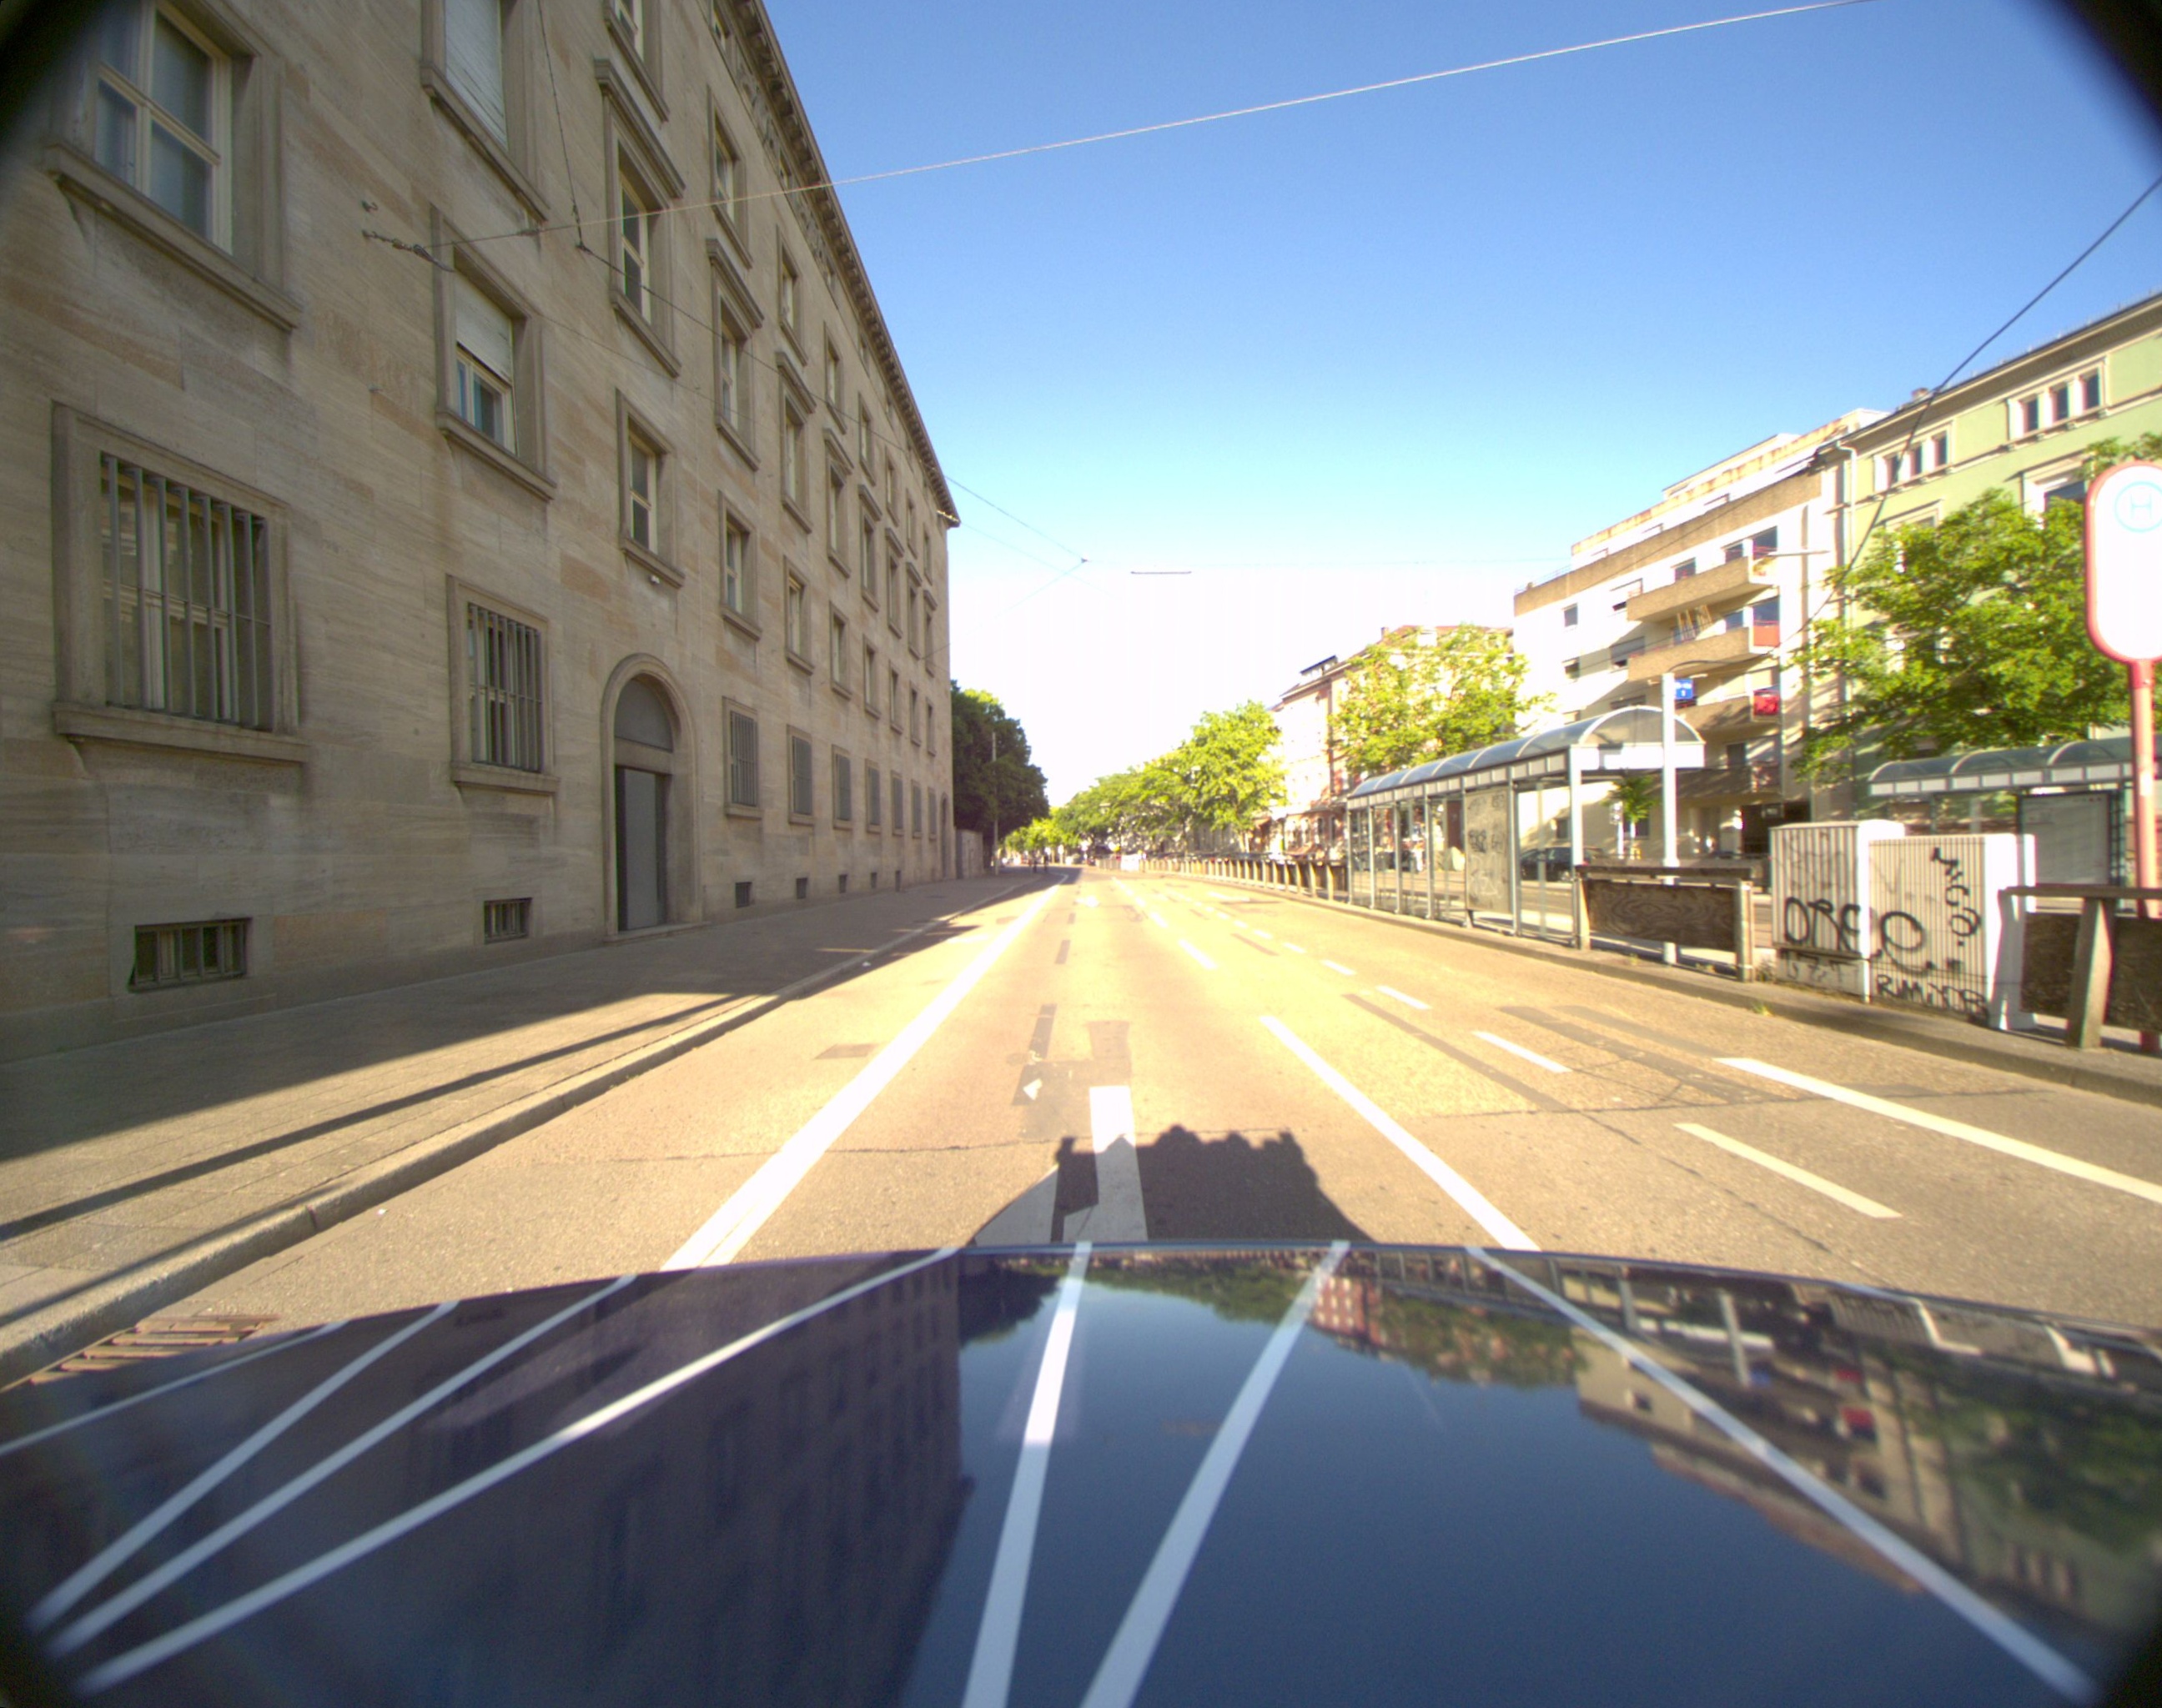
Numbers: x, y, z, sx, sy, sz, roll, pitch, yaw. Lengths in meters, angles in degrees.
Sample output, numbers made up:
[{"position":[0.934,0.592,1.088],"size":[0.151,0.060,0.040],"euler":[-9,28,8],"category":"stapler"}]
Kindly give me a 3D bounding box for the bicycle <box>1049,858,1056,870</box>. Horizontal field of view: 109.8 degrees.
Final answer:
[{"position":[-2.766,0.962,74.489],"size":[0.625,1.167,1.566],"euler":[0,0,1],"category":"bicycle"}]

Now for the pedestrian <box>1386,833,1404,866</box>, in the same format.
[{"position":[21.253,-0.285,51.385],"size":[0.813,2.194,0.756],"euler":[-1,1,-10],"category":"pedestrian"}]

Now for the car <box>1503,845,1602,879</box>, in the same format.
[{"position":[20.917,0.321,33.901],"size":[1.654,1.419,3.737],"euler":[-1,0,-11],"category":"car"}]

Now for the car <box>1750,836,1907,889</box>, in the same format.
[{"position":[23.865,0.243,24.301],"size":[4.002,1.573,1.761],"euler":[-1,0,-14],"category":"car"}]

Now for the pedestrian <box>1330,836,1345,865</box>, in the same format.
[{"position":[19.457,-0.285,57.605],"size":[0.813,2.194,0.756],"euler":[-1,1,-10],"category":"pedestrian"}]

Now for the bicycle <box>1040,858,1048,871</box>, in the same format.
[{"position":[-3.629,1.029,74.480],"size":[0.625,1.214,1.659],"euler":[-3,1,1],"category":"bicycle"}]

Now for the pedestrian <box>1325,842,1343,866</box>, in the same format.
[{"position":[18.432,0.001,55.424],"size":[0.855,1.710,1.019],"euler":[-1,1,-8],"category":"pedestrian"}]

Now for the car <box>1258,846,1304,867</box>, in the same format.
[{"position":[16.965,0.207,64.334],"size":[4.134,1.698,1.848],"euler":[-1,1,-45],"category":"car"}]

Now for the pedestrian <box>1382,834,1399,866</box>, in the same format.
[{"position":[21.279,-0.296,52.276],"size":[0.813,2.194,0.756],"euler":[-1,1,-10],"category":"pedestrian"}]

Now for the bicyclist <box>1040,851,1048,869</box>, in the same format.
[{"position":[-3.645,0.580,74.708],"size":[0.625,1.729,0.688],"euler":[-3,1,1],"category":"bicyclist"}]

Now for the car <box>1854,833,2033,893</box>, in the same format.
[{"position":[24.664,0.240,21.760],"size":[4.002,1.573,1.761],"euler":[-1,0,-14],"category":"car"}]

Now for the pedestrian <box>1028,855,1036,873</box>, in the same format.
[{"position":[-3.790,0.776,58.897],"size":[0.548,1.327,0.587],"euler":[-1,1,7],"category":"pedestrian"}]

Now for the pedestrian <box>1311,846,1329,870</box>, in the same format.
[{"position":[16.607,0.274,52.844],"size":[0.868,1.619,0.891],"euler":[-1,1,-10],"category":"pedestrian"}]

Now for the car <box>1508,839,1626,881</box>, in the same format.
[{"position":[18.537,0.217,29.205],"size":[1.648,1.480,3.997],"euler":[-1,0,-7],"category":"car"}]

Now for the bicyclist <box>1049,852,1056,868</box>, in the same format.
[{"position":[-2.788,0.609,74.424],"size":[0.728,1.570,0.775],"euler":[0,1,1],"category":"bicyclist"}]

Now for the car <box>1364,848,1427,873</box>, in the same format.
[{"position":[18.410,0.373,44.653],"size":[1.609,1.388,3.997],"euler":[-1,0,-9],"category":"car"}]

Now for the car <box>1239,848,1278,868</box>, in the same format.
[{"position":[12.780,0.286,54.909],"size":[1.670,1.400,3.877],"euler":[0,0,-5],"category":"car"}]

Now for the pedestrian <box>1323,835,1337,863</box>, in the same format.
[{"position":[19.437,-0.372,59.261],"size":[0.812,2.194,0.756],"euler":[-1,1,-4],"category":"pedestrian"}]
